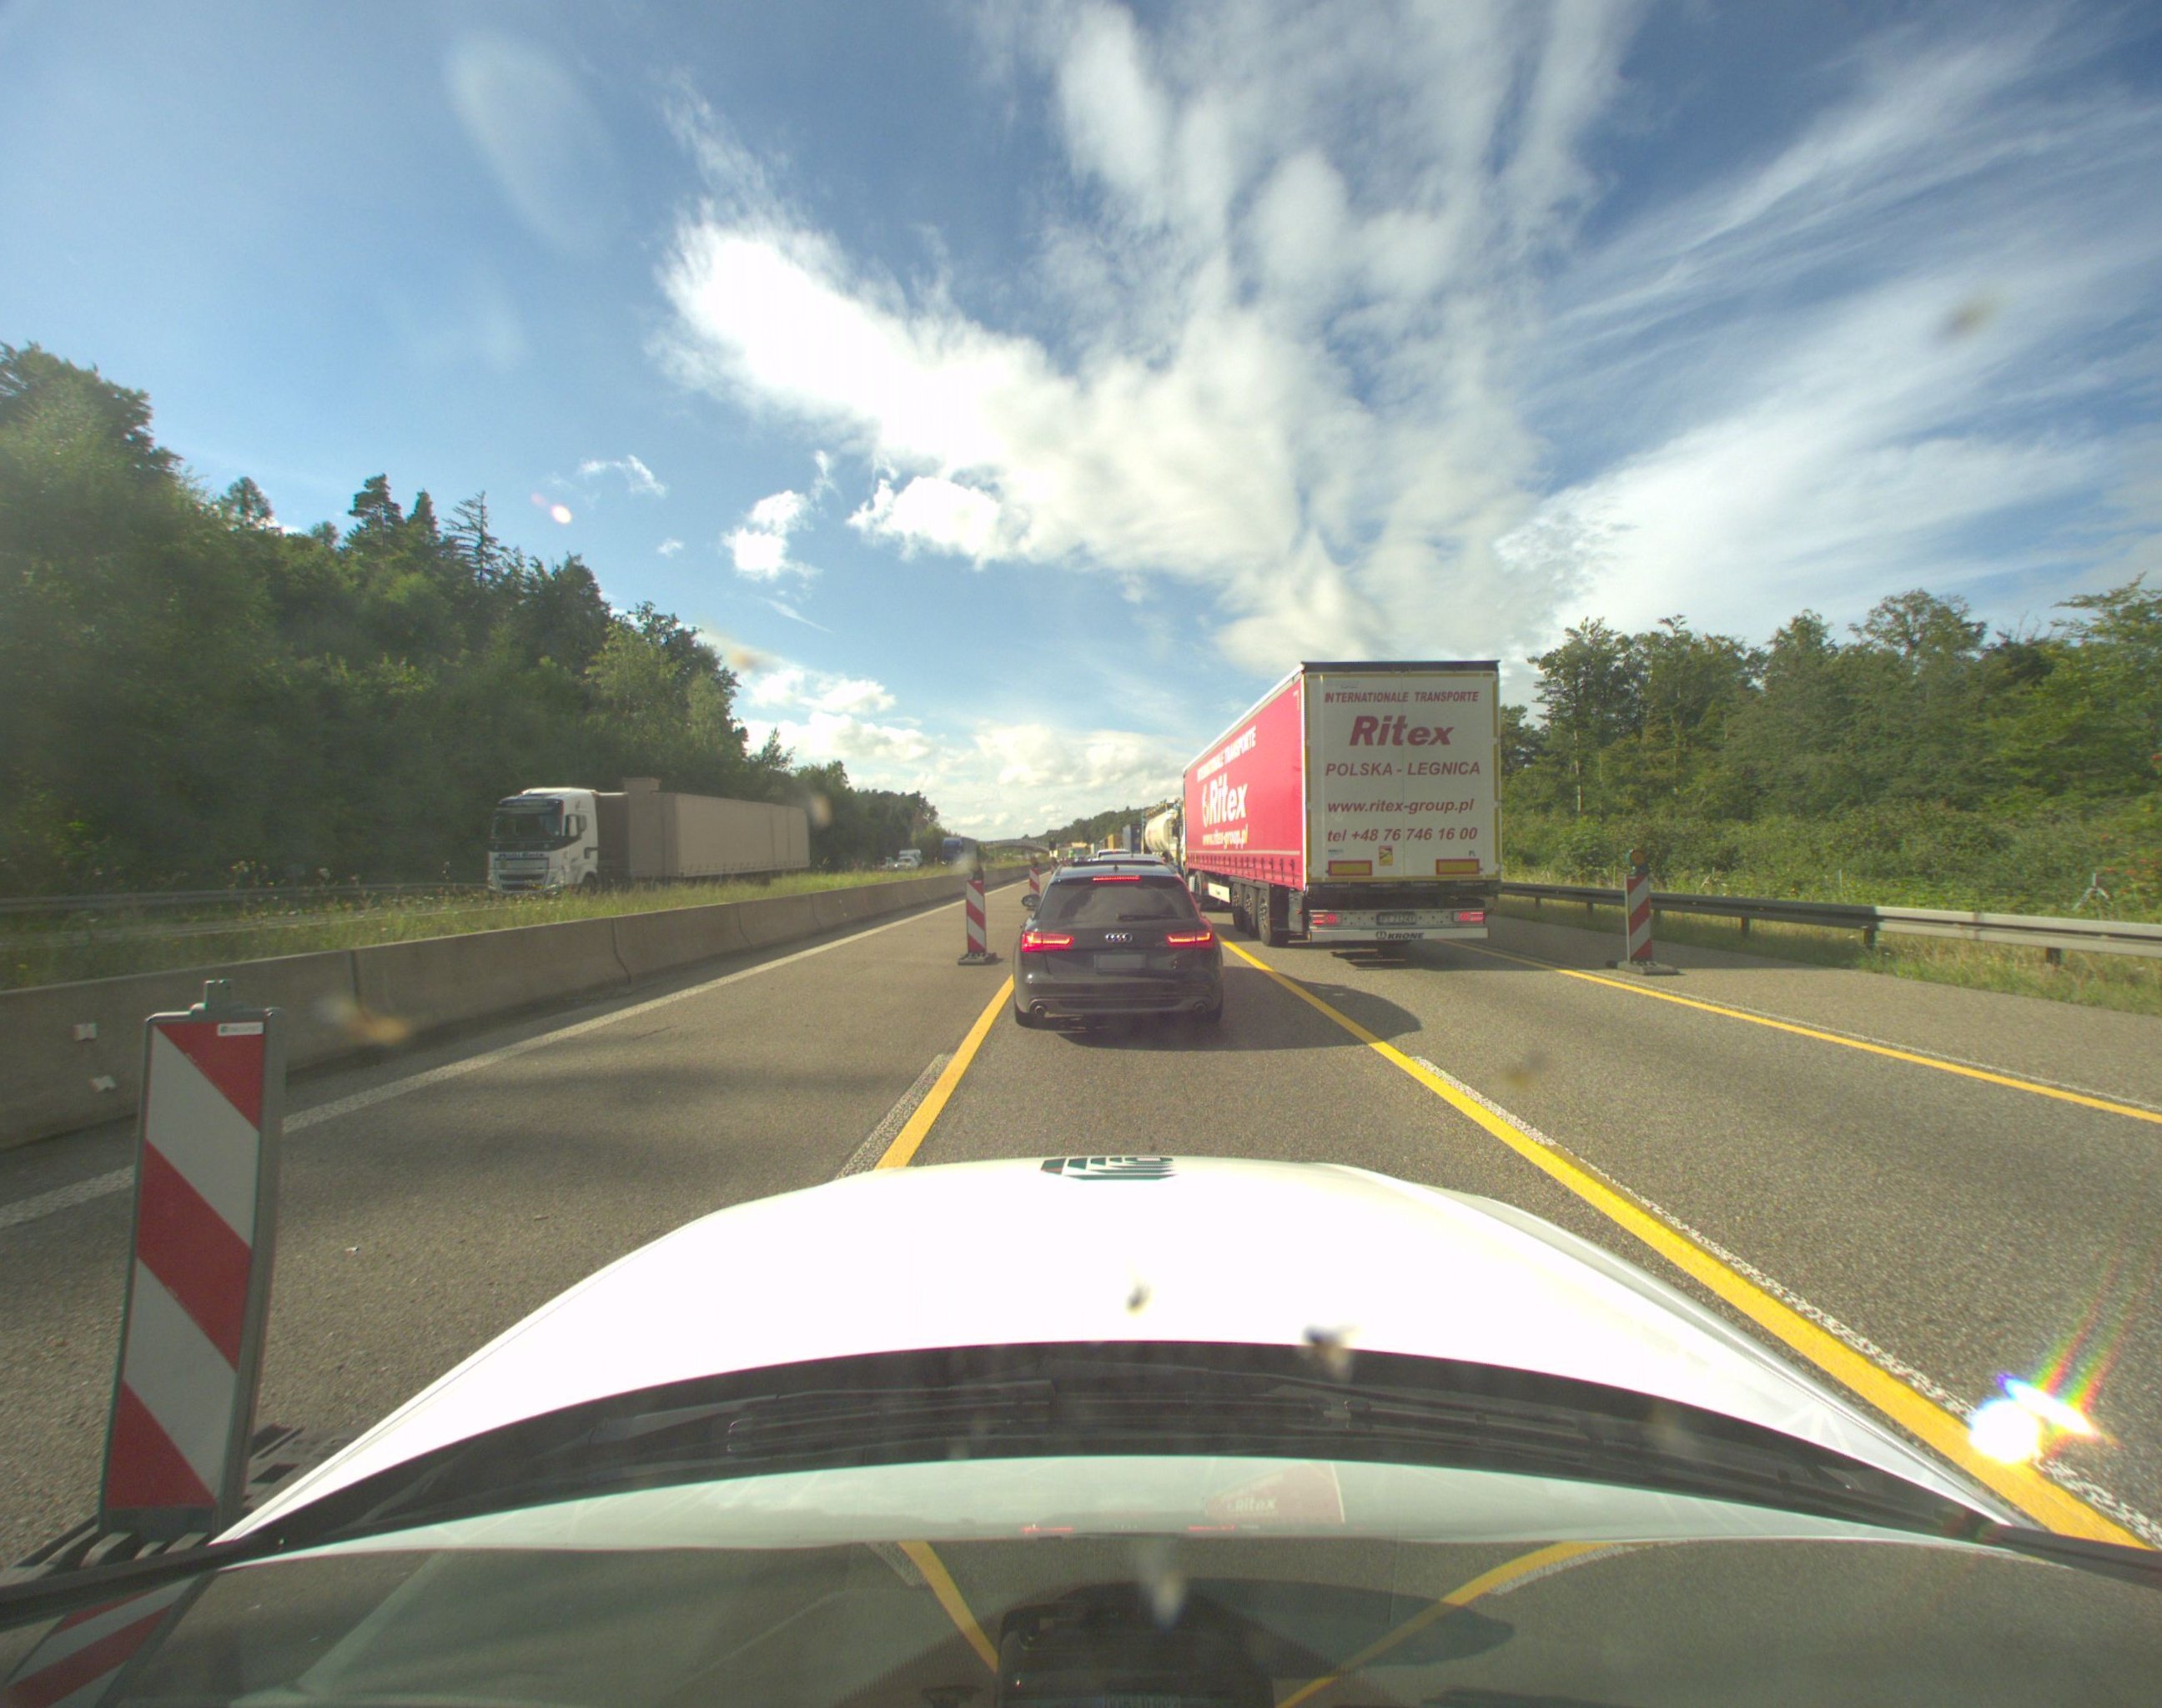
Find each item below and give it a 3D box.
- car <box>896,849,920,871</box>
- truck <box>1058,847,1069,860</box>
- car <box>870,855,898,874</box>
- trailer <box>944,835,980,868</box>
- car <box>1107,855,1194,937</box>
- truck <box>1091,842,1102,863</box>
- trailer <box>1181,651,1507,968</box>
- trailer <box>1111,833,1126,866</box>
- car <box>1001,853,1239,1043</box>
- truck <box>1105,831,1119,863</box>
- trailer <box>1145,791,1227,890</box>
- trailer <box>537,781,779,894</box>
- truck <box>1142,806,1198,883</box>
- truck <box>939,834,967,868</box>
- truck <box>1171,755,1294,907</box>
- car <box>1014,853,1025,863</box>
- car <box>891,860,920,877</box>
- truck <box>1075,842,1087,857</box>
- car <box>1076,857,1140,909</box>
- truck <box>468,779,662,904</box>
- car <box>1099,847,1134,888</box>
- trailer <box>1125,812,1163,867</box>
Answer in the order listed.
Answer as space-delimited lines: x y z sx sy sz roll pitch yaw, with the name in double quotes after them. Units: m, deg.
-20.826 0.738 98.142 2.247 2.643 5.009 0 -1 -6 "car"
-5.736 -0.033 262.991 3.296 4.175 9.693 0 0 -2 "truck"
-21.335 1.166 88.281 1.986 2.014 4.001 0 -1 2 "car"
-16.068 -0.330 110.946 2.610 4.141 13.377 -1 0 2 "trailer"
1.267 0.754 15.951 1.518 1.439 3.286 0 -1 2 "car"
3.230 -0.273 164.286 2.130 4.257 7.073 0 -1 1 "truck"
4.126 -0.554 16.945 2.690 3.969 13.420 -1 0 1 "trailer"
4.476 -0.475 98.963 1.611 3.918 6.490 0 -1 1 "trailer"
0.369 0.759 8.385 1.842 1.463 4.001 -1 -1 2 "car"
4.942 -1.123 132.525 1.987 4.914 9.562 -1 0 0 "truck"
4.656 -0.512 38.620 2.634 3.943 12.602 0 0 2 "trailer"
-17.370 -0.519 35.402 2.817 3.922 13.945 0 -1 2 "trailer"
4.831 -0.457 45.147 2.649 3.972 5.780 0 -1 2 "truck"
-16.282 -0.357 103.916 2.628 4.189 5.469 -1 0 2 "truck"
4.267 -0.593 24.151 2.658 3.959 5.711 -1 0 1 "truck"
-12.253 0.732 162.648 1.987 1.948 3.999 0 -1 0 "car"
-16.612 1.374 77.357 1.780 1.560 4.001 0 -1 2 "car"
0.094 -1.137 228.863 3.293 4.175 9.700 -1 0 0 "truck"
0.798 0.815 24.164 1.745 1.397 3.609 0 -1 2 "car"
-17.611 -0.362 28.371 2.816 3.909 5.951 0 -1 2 "truck"
1.618 0.615 37.523 1.575 1.837 3.113 0 -1 2 "car"
5.391 -1.115 71.300 2.795 4.413 10.436 0 -1 2 "trailer"
